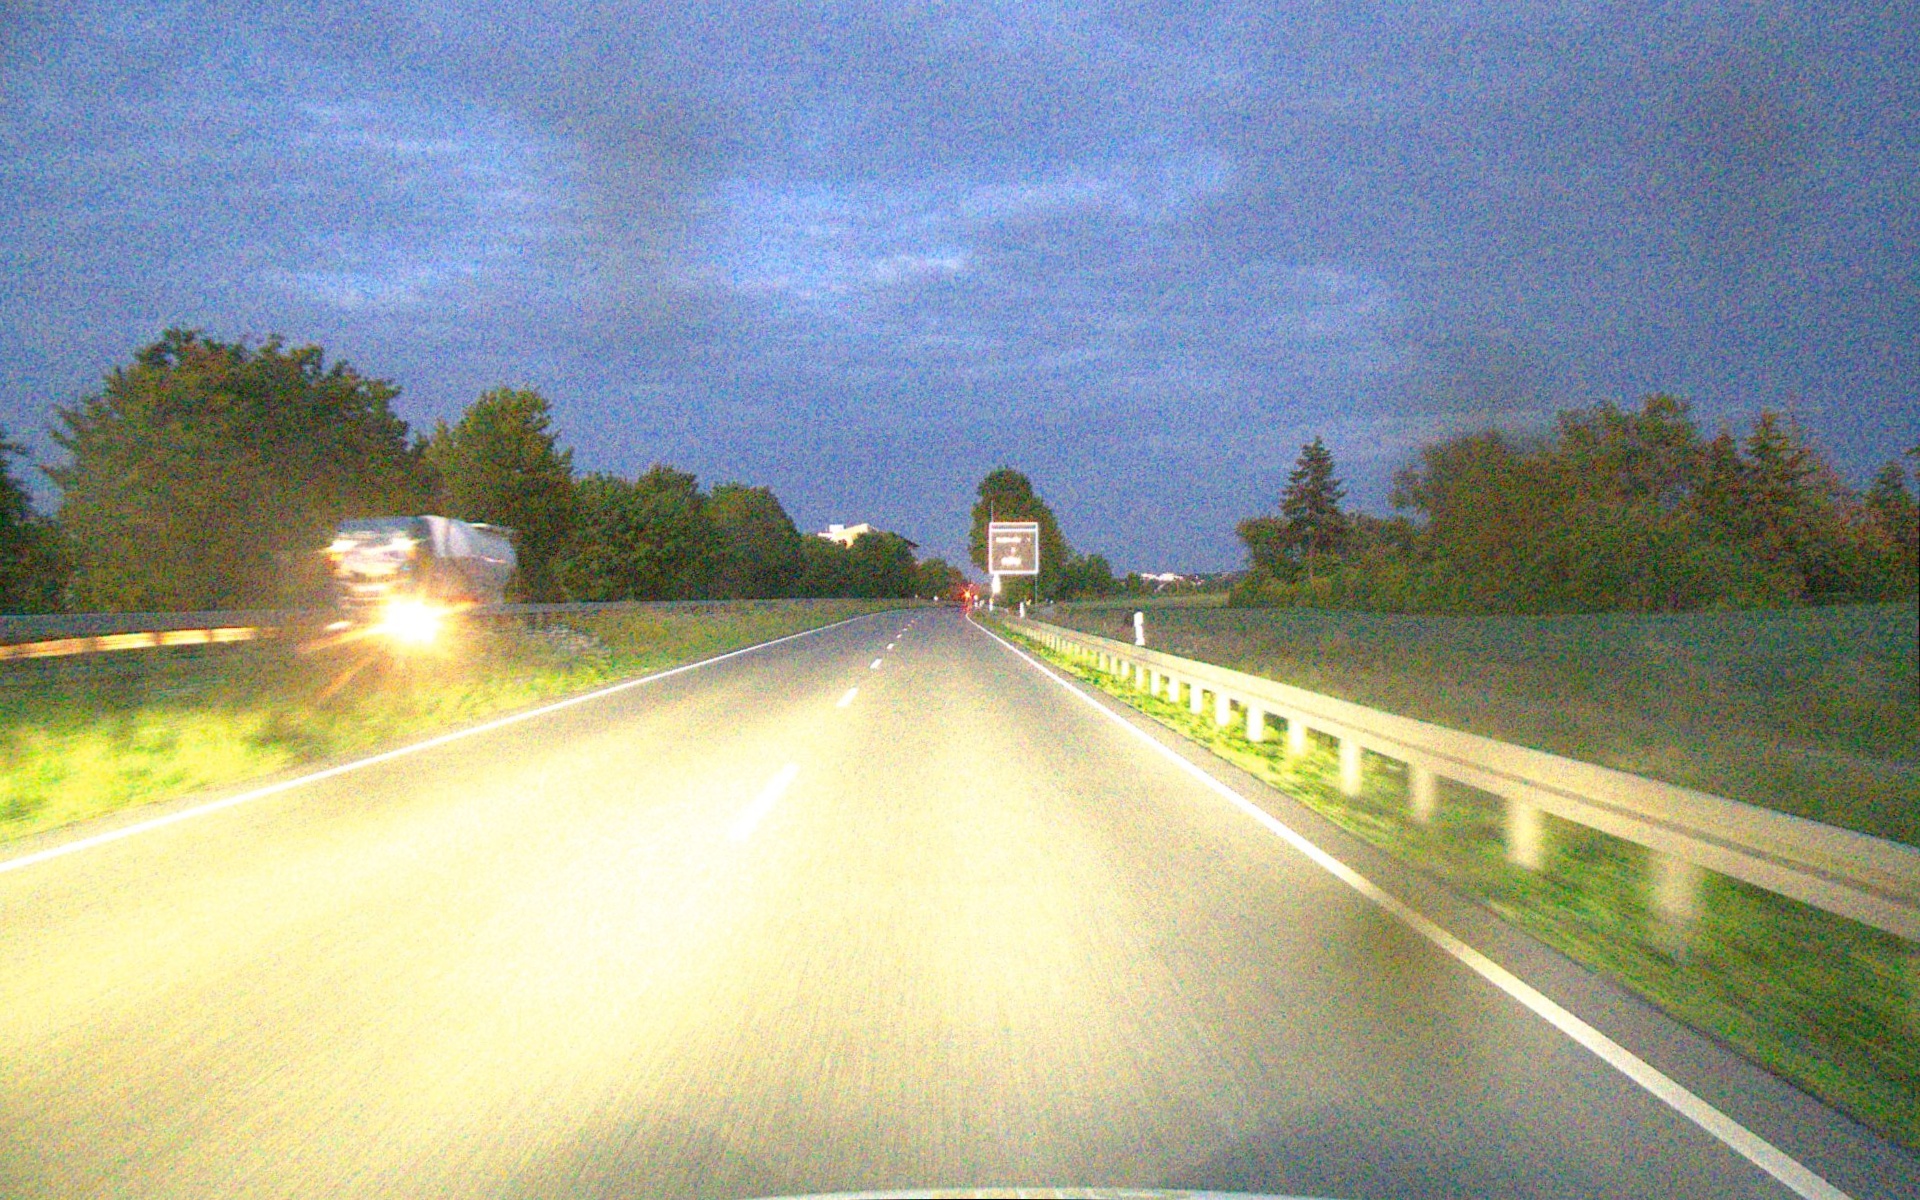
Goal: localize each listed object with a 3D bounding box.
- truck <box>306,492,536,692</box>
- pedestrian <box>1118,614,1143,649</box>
[{"bbox_3d":[-16.180,-0.215,51.048,3.137,5.348,12.605,1,0,-1],"label":"truck"},{"bbox_3d":[8.345,1.525,80.981,1.040,1.672,1.118,1,0,-1],"label":"pedestrian"}]
